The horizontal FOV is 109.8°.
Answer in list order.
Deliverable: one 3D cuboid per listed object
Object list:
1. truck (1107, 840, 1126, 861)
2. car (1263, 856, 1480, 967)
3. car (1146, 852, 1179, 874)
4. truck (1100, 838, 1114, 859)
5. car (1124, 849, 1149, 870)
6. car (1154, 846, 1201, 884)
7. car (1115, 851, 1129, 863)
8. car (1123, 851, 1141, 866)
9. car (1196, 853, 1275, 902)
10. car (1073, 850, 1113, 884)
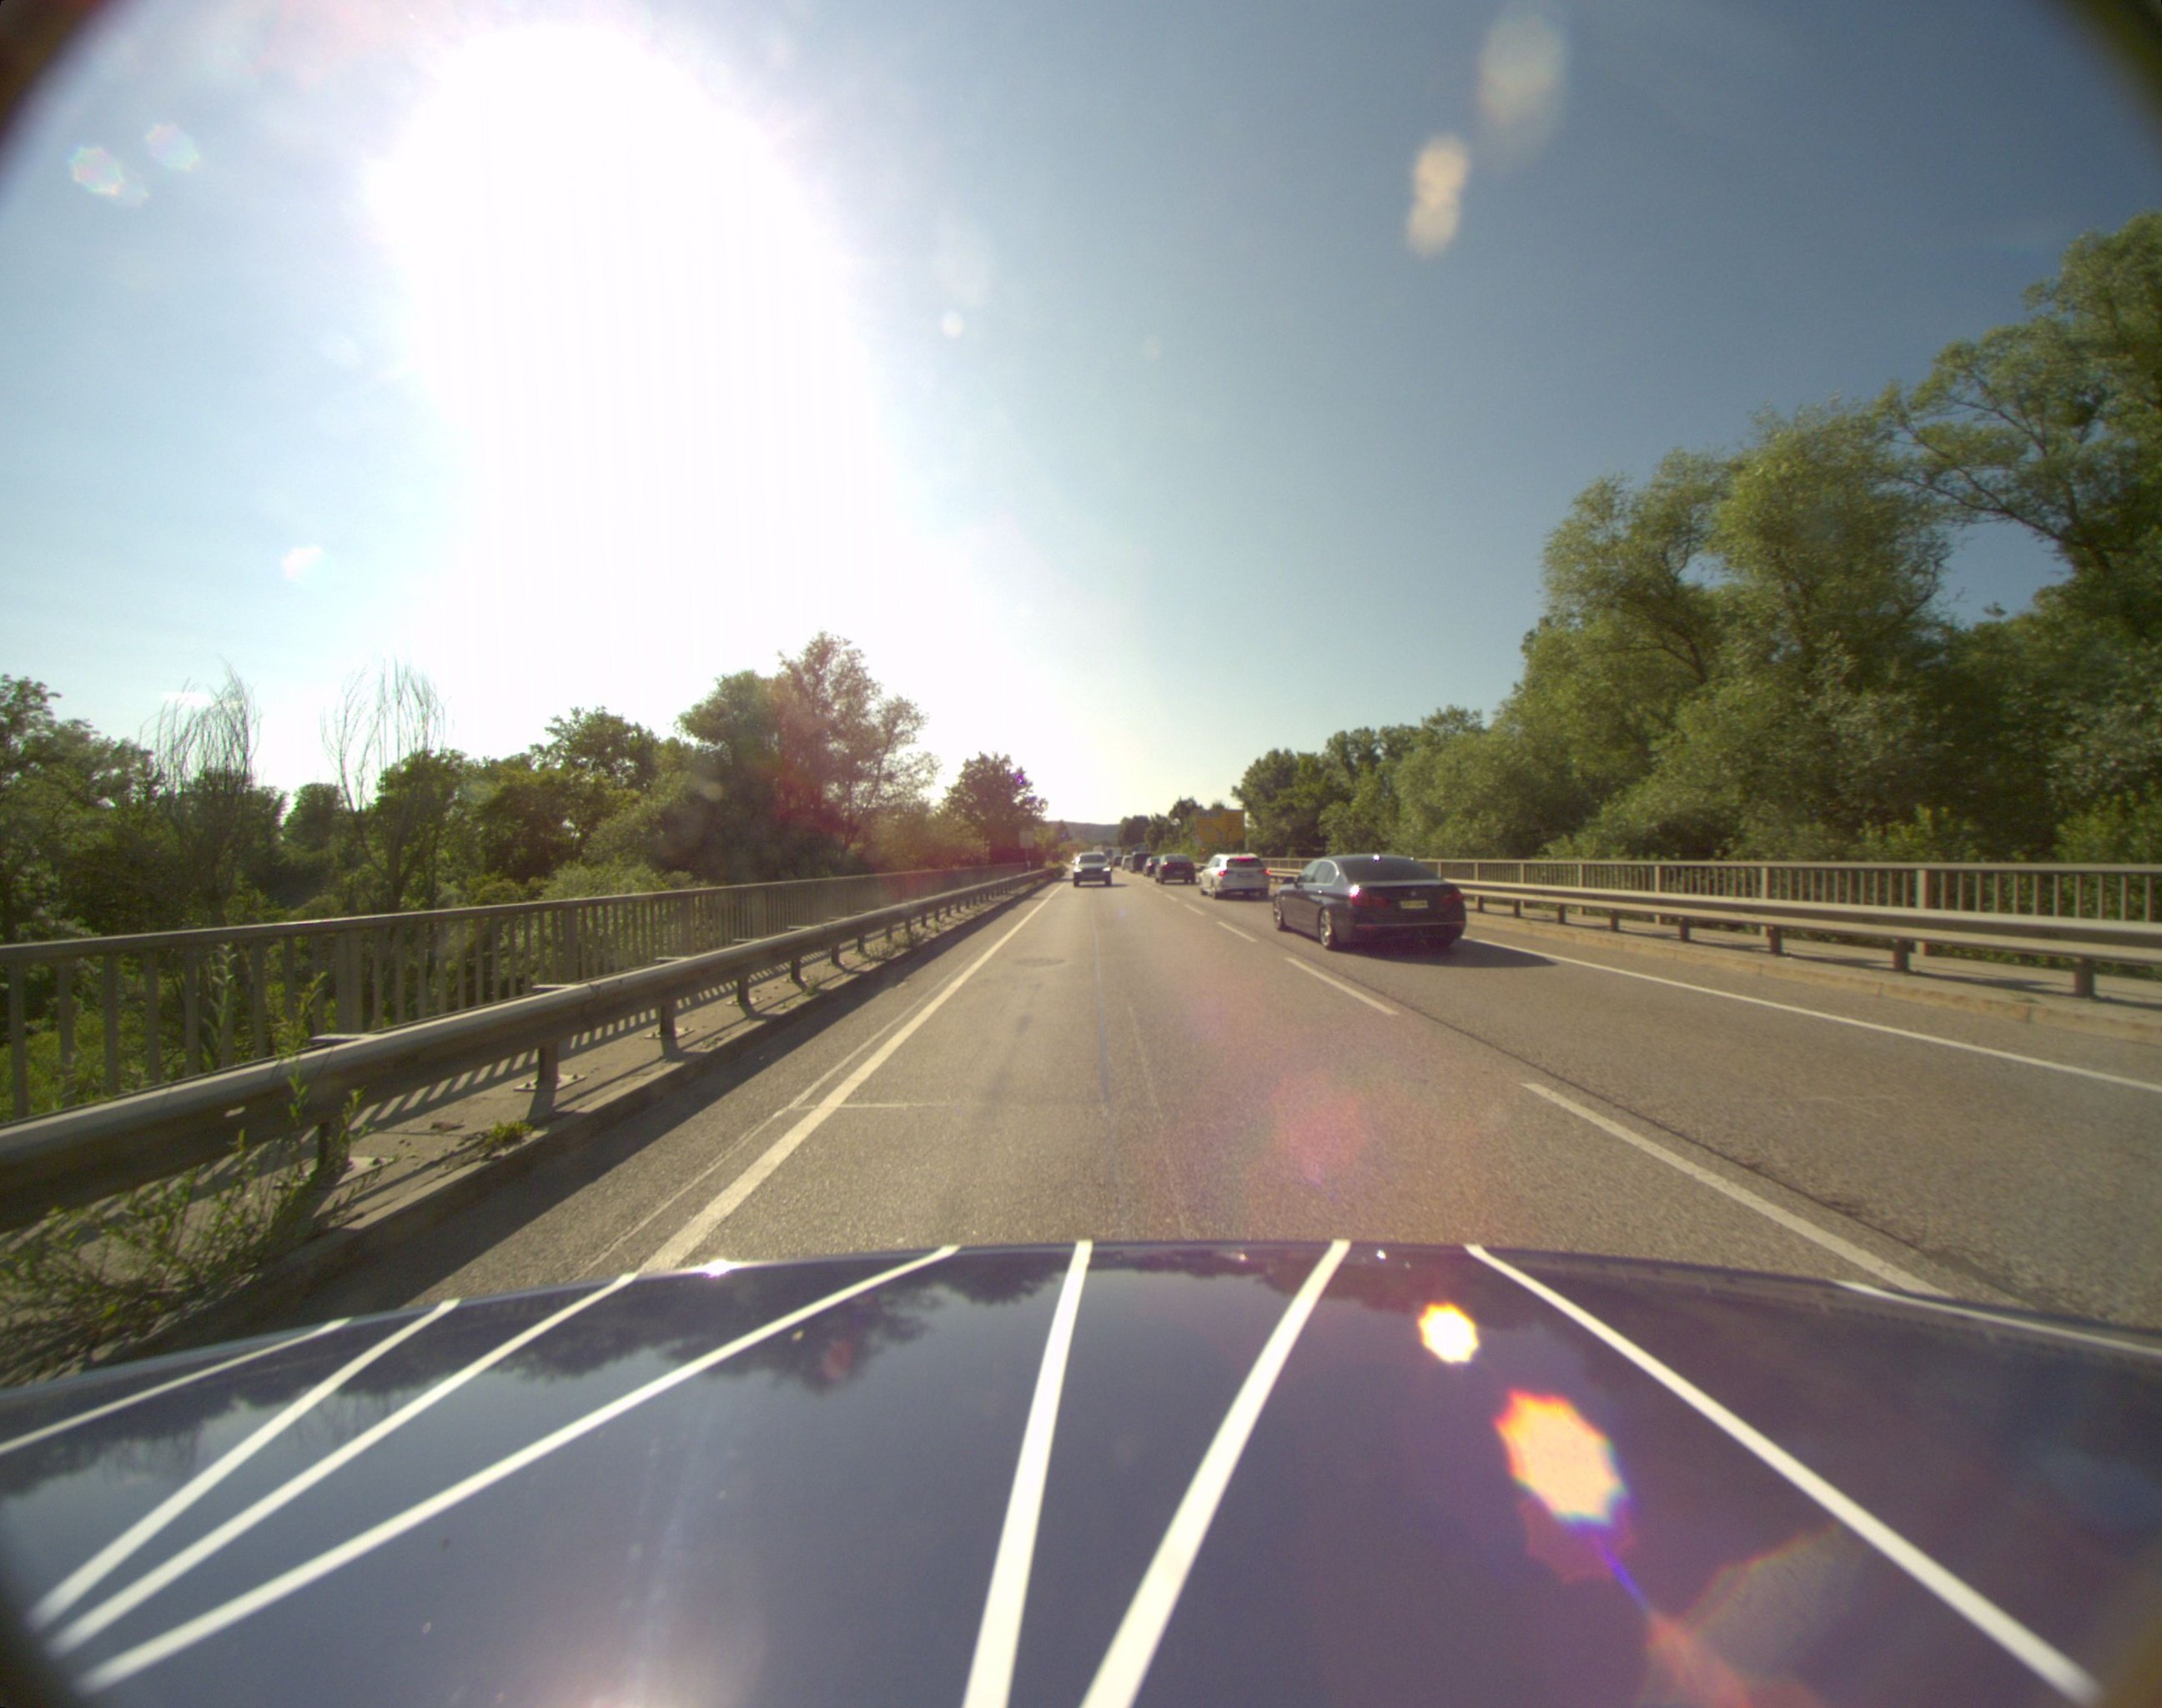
[{"bbox_3d":[5.678,-0.552,121.881,2.620,3.235,6.966,-2,0,1],"label":"truck"},{"bbox_3d":[4.496,0.780,12.620,1.791,1.412,4.650,-1,1,0],"label":"car"},{"bbox_3d":[5.880,0.622,55.028,1.893,1.479,4.272,-3,0,1],"label":"car"},{"bbox_3d":[5.433,-1.176,159.140,2.744,4.303,8.130,-2,0,1],"label":"truck"},{"bbox_3d":[4.940,0.480,68.020,1.972,1.796,4.531,-2,0,2],"label":"car"},{"bbox_3d":[5.003,0.524,39.912,1.972,1.796,4.530,-2,0,2],"label":"car"},{"bbox_3d":[5.746,0.399,105.832,1.743,1.655,4.046,-2,0,1],"label":"car"},{"bbox_3d":[5.663,0.518,84.808,1.824,1.537,4.061,-2,0,2],"label":"car"},{"bbox_3d":[5.131,0.736,25.838,1.736,1.427,4.486,-1,1,0],"label":"car"},{"bbox_3d":[0.648,0.611,39.001,1.871,1.598,4.380,-2,0,2],"label":"car"}]
